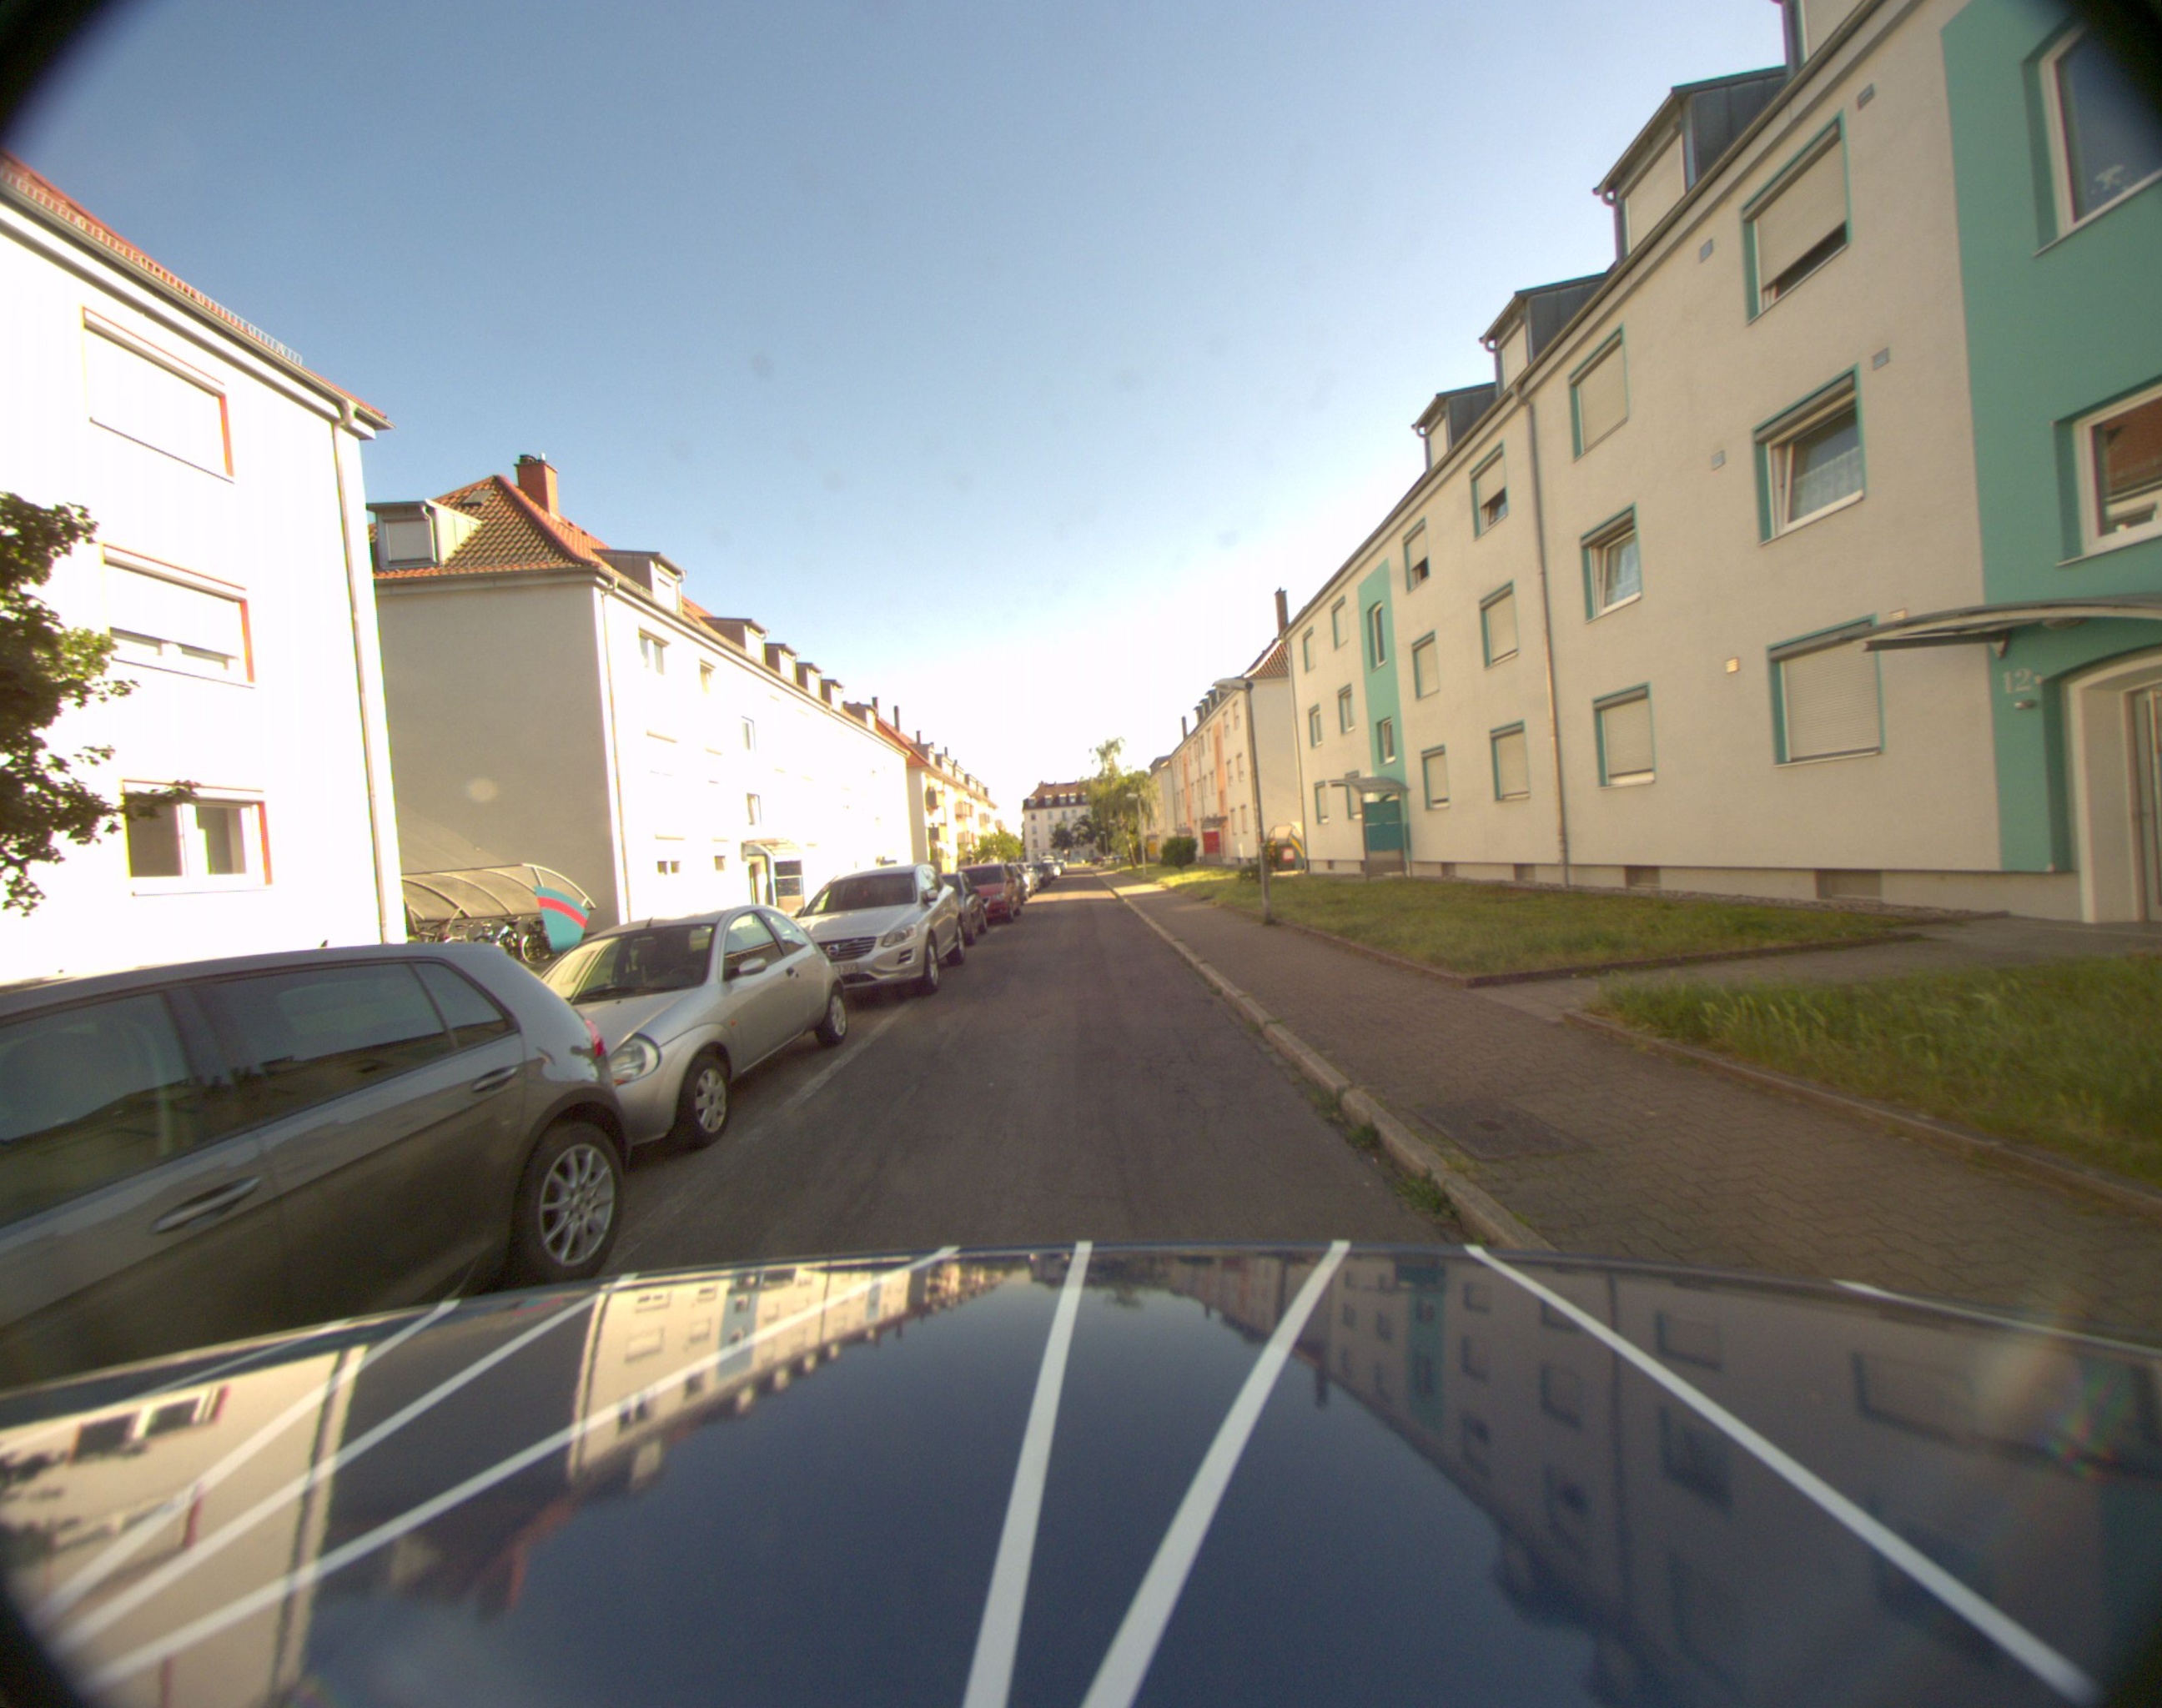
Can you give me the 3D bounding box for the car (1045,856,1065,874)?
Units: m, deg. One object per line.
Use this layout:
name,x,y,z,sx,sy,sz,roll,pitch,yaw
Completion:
car,-2.655,1.058,77.345,1.709,1.562,4.734,-4,1,1

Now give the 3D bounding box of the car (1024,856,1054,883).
car,-2.812,1.021,51.579,1.709,1.562,4.040,-4,0,0

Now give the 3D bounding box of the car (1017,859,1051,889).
car,-2.799,1.165,46.174,1.709,1.562,4.040,-4,0,0

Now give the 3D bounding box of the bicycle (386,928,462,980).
bicycle,-14.786,2.237,17.141,0.319,0.940,1.509,-3,1,2

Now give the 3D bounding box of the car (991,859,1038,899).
car,-2.962,1.099,34.587,1.709,1.562,3.876,-4,0,0

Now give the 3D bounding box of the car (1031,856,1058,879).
car,-2.939,1.093,62.306,1.708,1.562,4.381,-4,1,3

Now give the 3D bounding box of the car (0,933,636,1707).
car,-2.803,1.143,1.397,1.633,1.441,3.951,-8,0,-3

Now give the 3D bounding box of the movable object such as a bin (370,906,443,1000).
movable object such as a bin,-11.926,1.728,13.448,0.595,1.543,0.624,-4,1,1

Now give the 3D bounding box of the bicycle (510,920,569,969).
bicycle,-12.236,2.028,17.197,0.319,0.940,1.283,-3,1,2

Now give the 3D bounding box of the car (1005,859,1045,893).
car,-2.907,1.132,40.311,1.709,1.562,4.040,-4,0,0

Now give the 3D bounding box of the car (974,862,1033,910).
car,-2.943,1.189,29.537,1.709,1.516,3.876,-7,0,0

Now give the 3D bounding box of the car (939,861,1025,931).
car,-2.649,1.082,21.342,1.732,1.597,4.423,-4,0,0

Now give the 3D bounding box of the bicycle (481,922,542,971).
bicycle,-12.928,2.074,17.271,0.319,0.940,1.283,-3,1,2

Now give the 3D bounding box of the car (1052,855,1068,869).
car,-2.641,0.997,94.867,1.709,1.562,3.925,-4,1,1

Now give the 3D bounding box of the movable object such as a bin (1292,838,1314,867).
movable object such as a bin,10.780,-0.072,36.843,0.753,1.385,0.763,-4,1,0

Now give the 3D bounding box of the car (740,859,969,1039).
car,-2.772,1.043,10.406,1.780,1.709,4.306,-7,0,-2

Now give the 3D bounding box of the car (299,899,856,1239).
car,-3.049,1.190,5.569,1.632,1.386,3.488,-4,0,0

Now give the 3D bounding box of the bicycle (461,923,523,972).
bicycle,-13.425,2.123,17.356,0.319,0.940,1.283,-3,1,2

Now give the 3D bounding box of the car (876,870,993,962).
car,-2.951,1.205,16.119,1.621,1.440,3.857,-7,0,-1

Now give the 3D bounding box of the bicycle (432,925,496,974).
bicycle,-13.970,2.151,17.242,0.319,0.940,1.283,-3,1,2

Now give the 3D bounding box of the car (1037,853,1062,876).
car,-2.857,0.916,70.527,1.953,1.890,4.763,-4,1,1

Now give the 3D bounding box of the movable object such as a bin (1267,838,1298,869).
movable object such as a bin,9.773,-0.021,36.817,1.167,1.385,0.877,-4,1,0
